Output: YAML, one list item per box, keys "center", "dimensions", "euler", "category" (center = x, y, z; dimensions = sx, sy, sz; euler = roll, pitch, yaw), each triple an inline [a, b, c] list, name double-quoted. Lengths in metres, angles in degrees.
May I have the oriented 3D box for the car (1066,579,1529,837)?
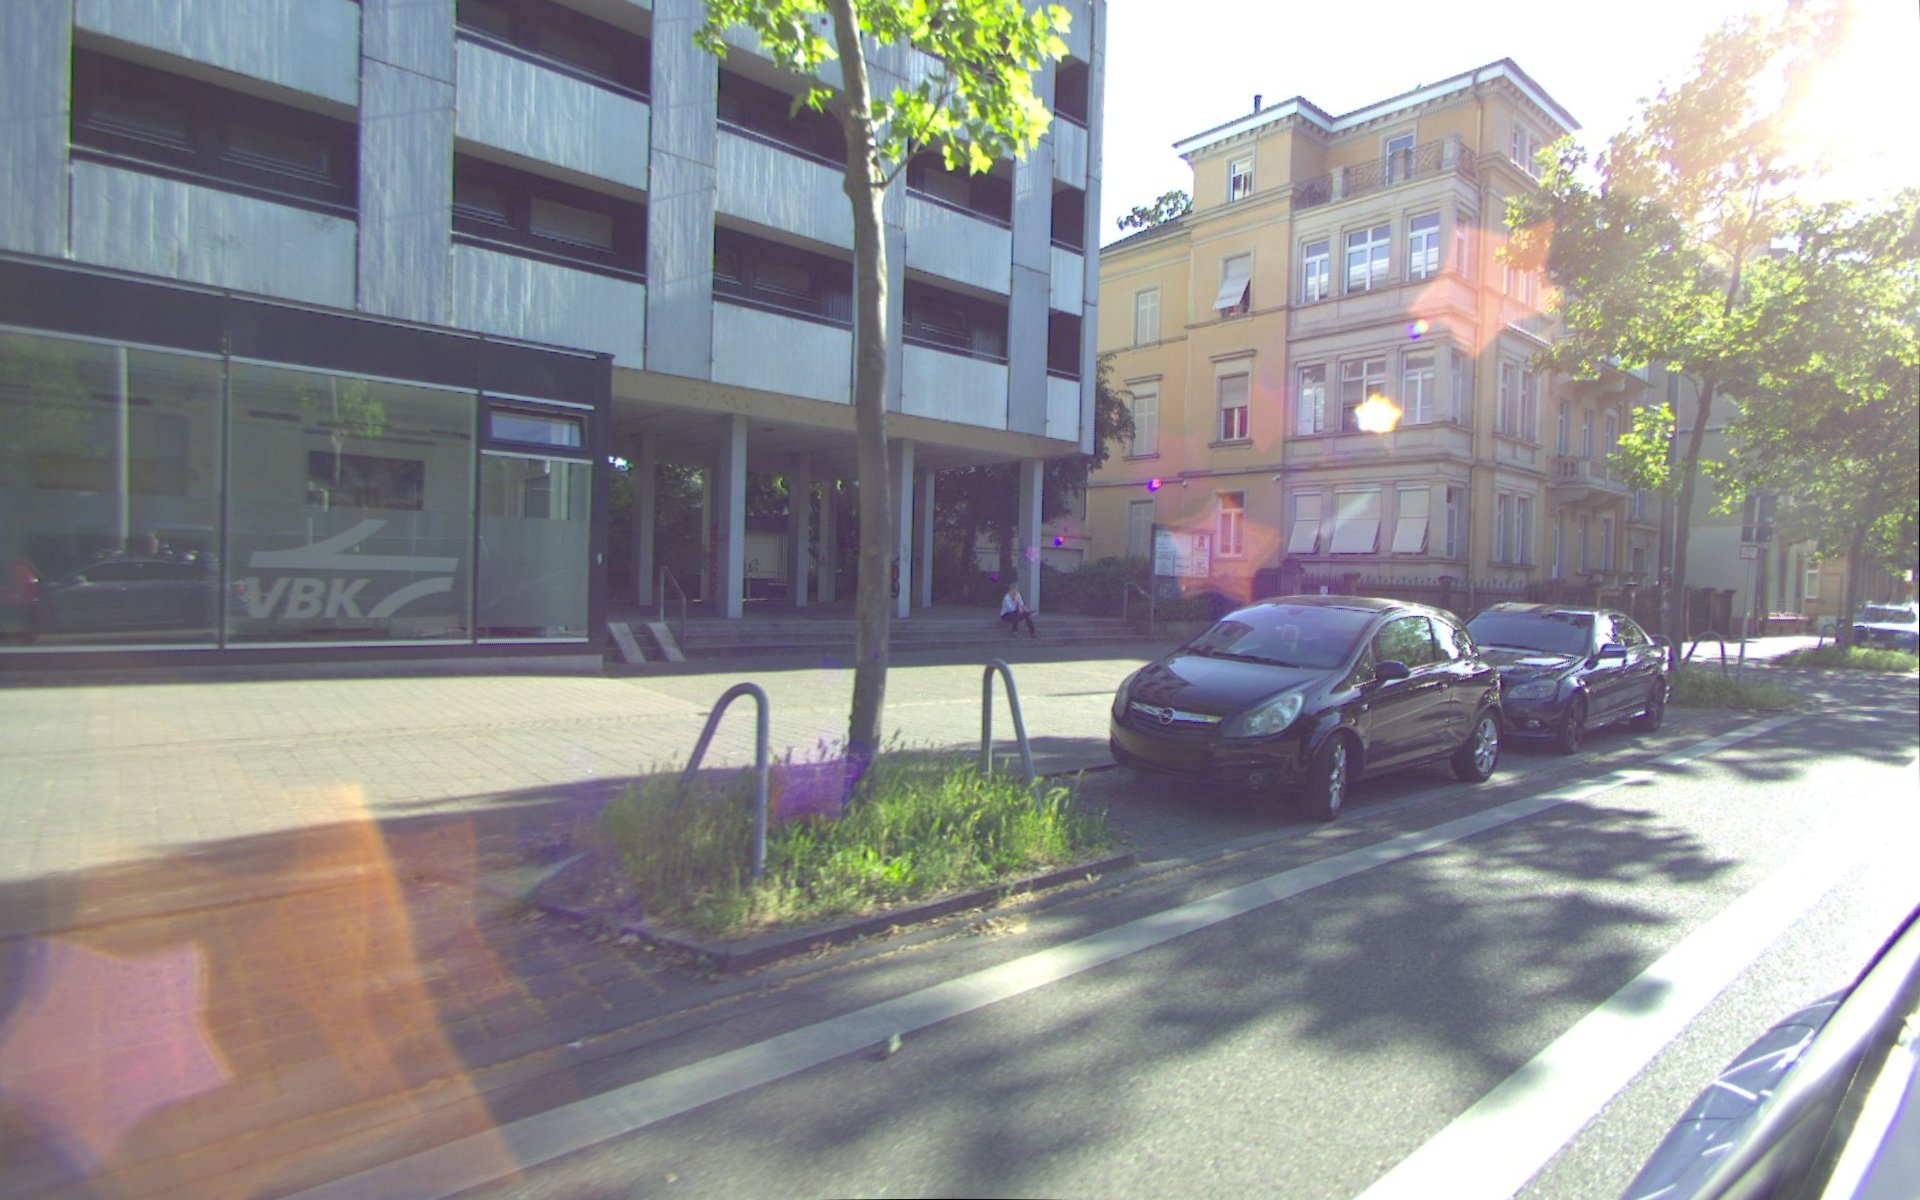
- center: [2.761, 0.628, 7.849]
  dimensions: [3.861, 1.459, 1.629]
  euler: [0, 3, -41]
  category: "car"

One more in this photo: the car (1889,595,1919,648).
- center: [32.993, 0.716, 34.257]
  dimensions: [4.199, 1.697, 1.838]
  euler: [0, 1, -41]
  category: "car"

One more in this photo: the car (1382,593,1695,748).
- center: [6.651, 0.655, 11.452]
  dimensions: [4.201, 1.399, 1.780]
  euler: [0, 1, -41]
  category: "car"

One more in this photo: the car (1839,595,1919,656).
- center: [26.248, 0.667, 28.369]
  dimensions: [4.199, 1.584, 1.838]
  euler: [0, 1, -41]
  category: "car"

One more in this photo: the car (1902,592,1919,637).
- center: [38.463, 0.569, 39.610]
  dimensions: [4.199, 1.696, 1.838]
  euler: [0, 2, -41]
  category: "car"

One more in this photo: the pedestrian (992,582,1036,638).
- center: [1.117, 0.196, 21.011]
  dimensions: [0.672, 1.123, 0.560]
  euler: [1, 2, -40]
  category: "pedestrian"
